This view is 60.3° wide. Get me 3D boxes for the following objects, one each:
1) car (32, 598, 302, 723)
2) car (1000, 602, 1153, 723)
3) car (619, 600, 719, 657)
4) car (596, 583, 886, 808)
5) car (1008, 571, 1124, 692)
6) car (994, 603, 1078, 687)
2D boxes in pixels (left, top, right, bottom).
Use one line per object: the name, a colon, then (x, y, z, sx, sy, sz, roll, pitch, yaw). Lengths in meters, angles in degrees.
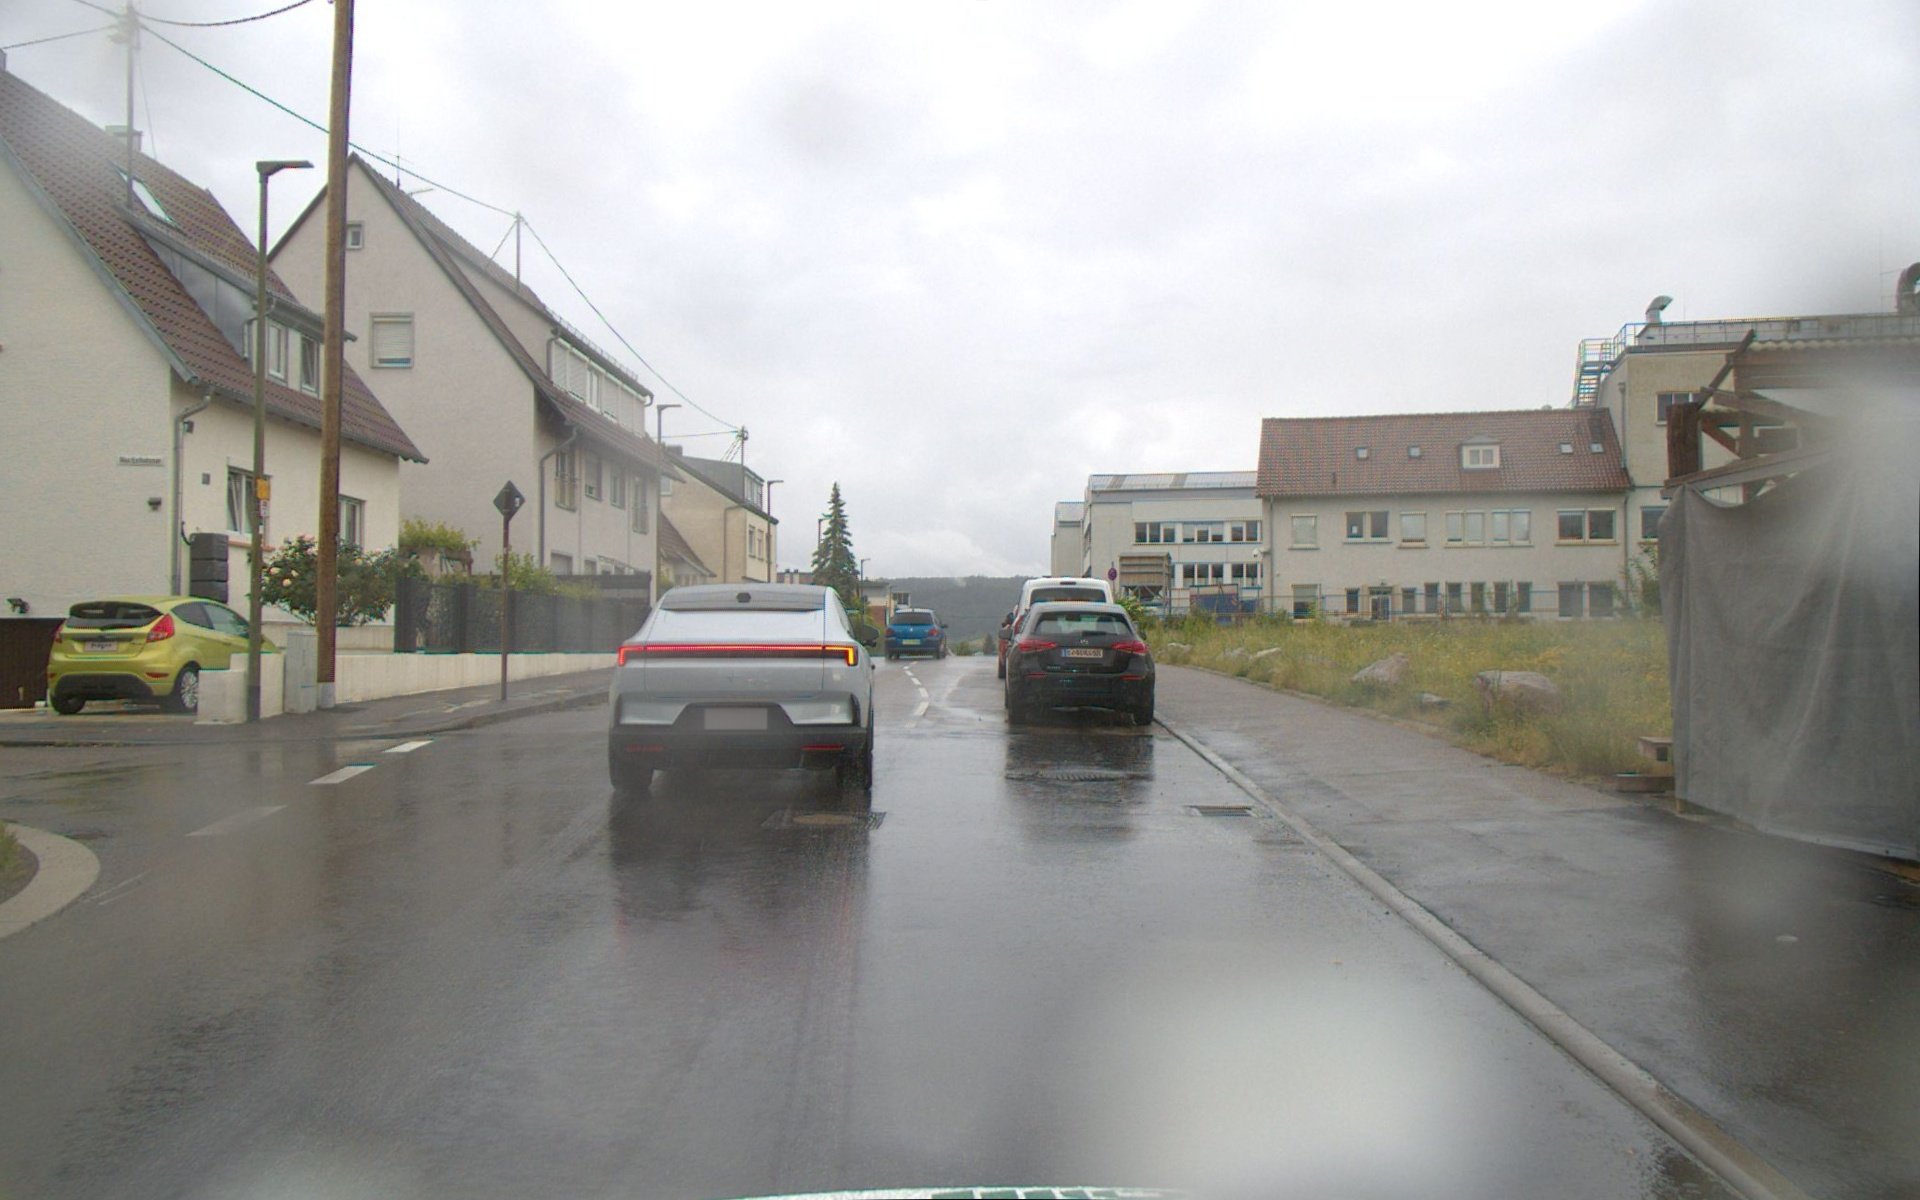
car: (-10.245, 0.770, 21.658, 1.742, 1.493, 3.457, 0, -2, 2)
car: (1.398, 0.744, 21.239, 1.732, 1.359, 4.321, 1, -1, 1)
car: (-8.736, 0.848, 50.027, 1.952, 1.536, 4.896, 3, -1, 1)
car: (-1.600, 0.678, 13.667, 1.953, 1.528, 4.667, 0, -1, -2)
car: (1.704, 0.512, 27.959, 1.732, 1.857, 4.575, 1, -1, 1)
car: (1.581, 0.905, 34.458, 1.608, 1.602, 4.644, 1, -1, 2)
